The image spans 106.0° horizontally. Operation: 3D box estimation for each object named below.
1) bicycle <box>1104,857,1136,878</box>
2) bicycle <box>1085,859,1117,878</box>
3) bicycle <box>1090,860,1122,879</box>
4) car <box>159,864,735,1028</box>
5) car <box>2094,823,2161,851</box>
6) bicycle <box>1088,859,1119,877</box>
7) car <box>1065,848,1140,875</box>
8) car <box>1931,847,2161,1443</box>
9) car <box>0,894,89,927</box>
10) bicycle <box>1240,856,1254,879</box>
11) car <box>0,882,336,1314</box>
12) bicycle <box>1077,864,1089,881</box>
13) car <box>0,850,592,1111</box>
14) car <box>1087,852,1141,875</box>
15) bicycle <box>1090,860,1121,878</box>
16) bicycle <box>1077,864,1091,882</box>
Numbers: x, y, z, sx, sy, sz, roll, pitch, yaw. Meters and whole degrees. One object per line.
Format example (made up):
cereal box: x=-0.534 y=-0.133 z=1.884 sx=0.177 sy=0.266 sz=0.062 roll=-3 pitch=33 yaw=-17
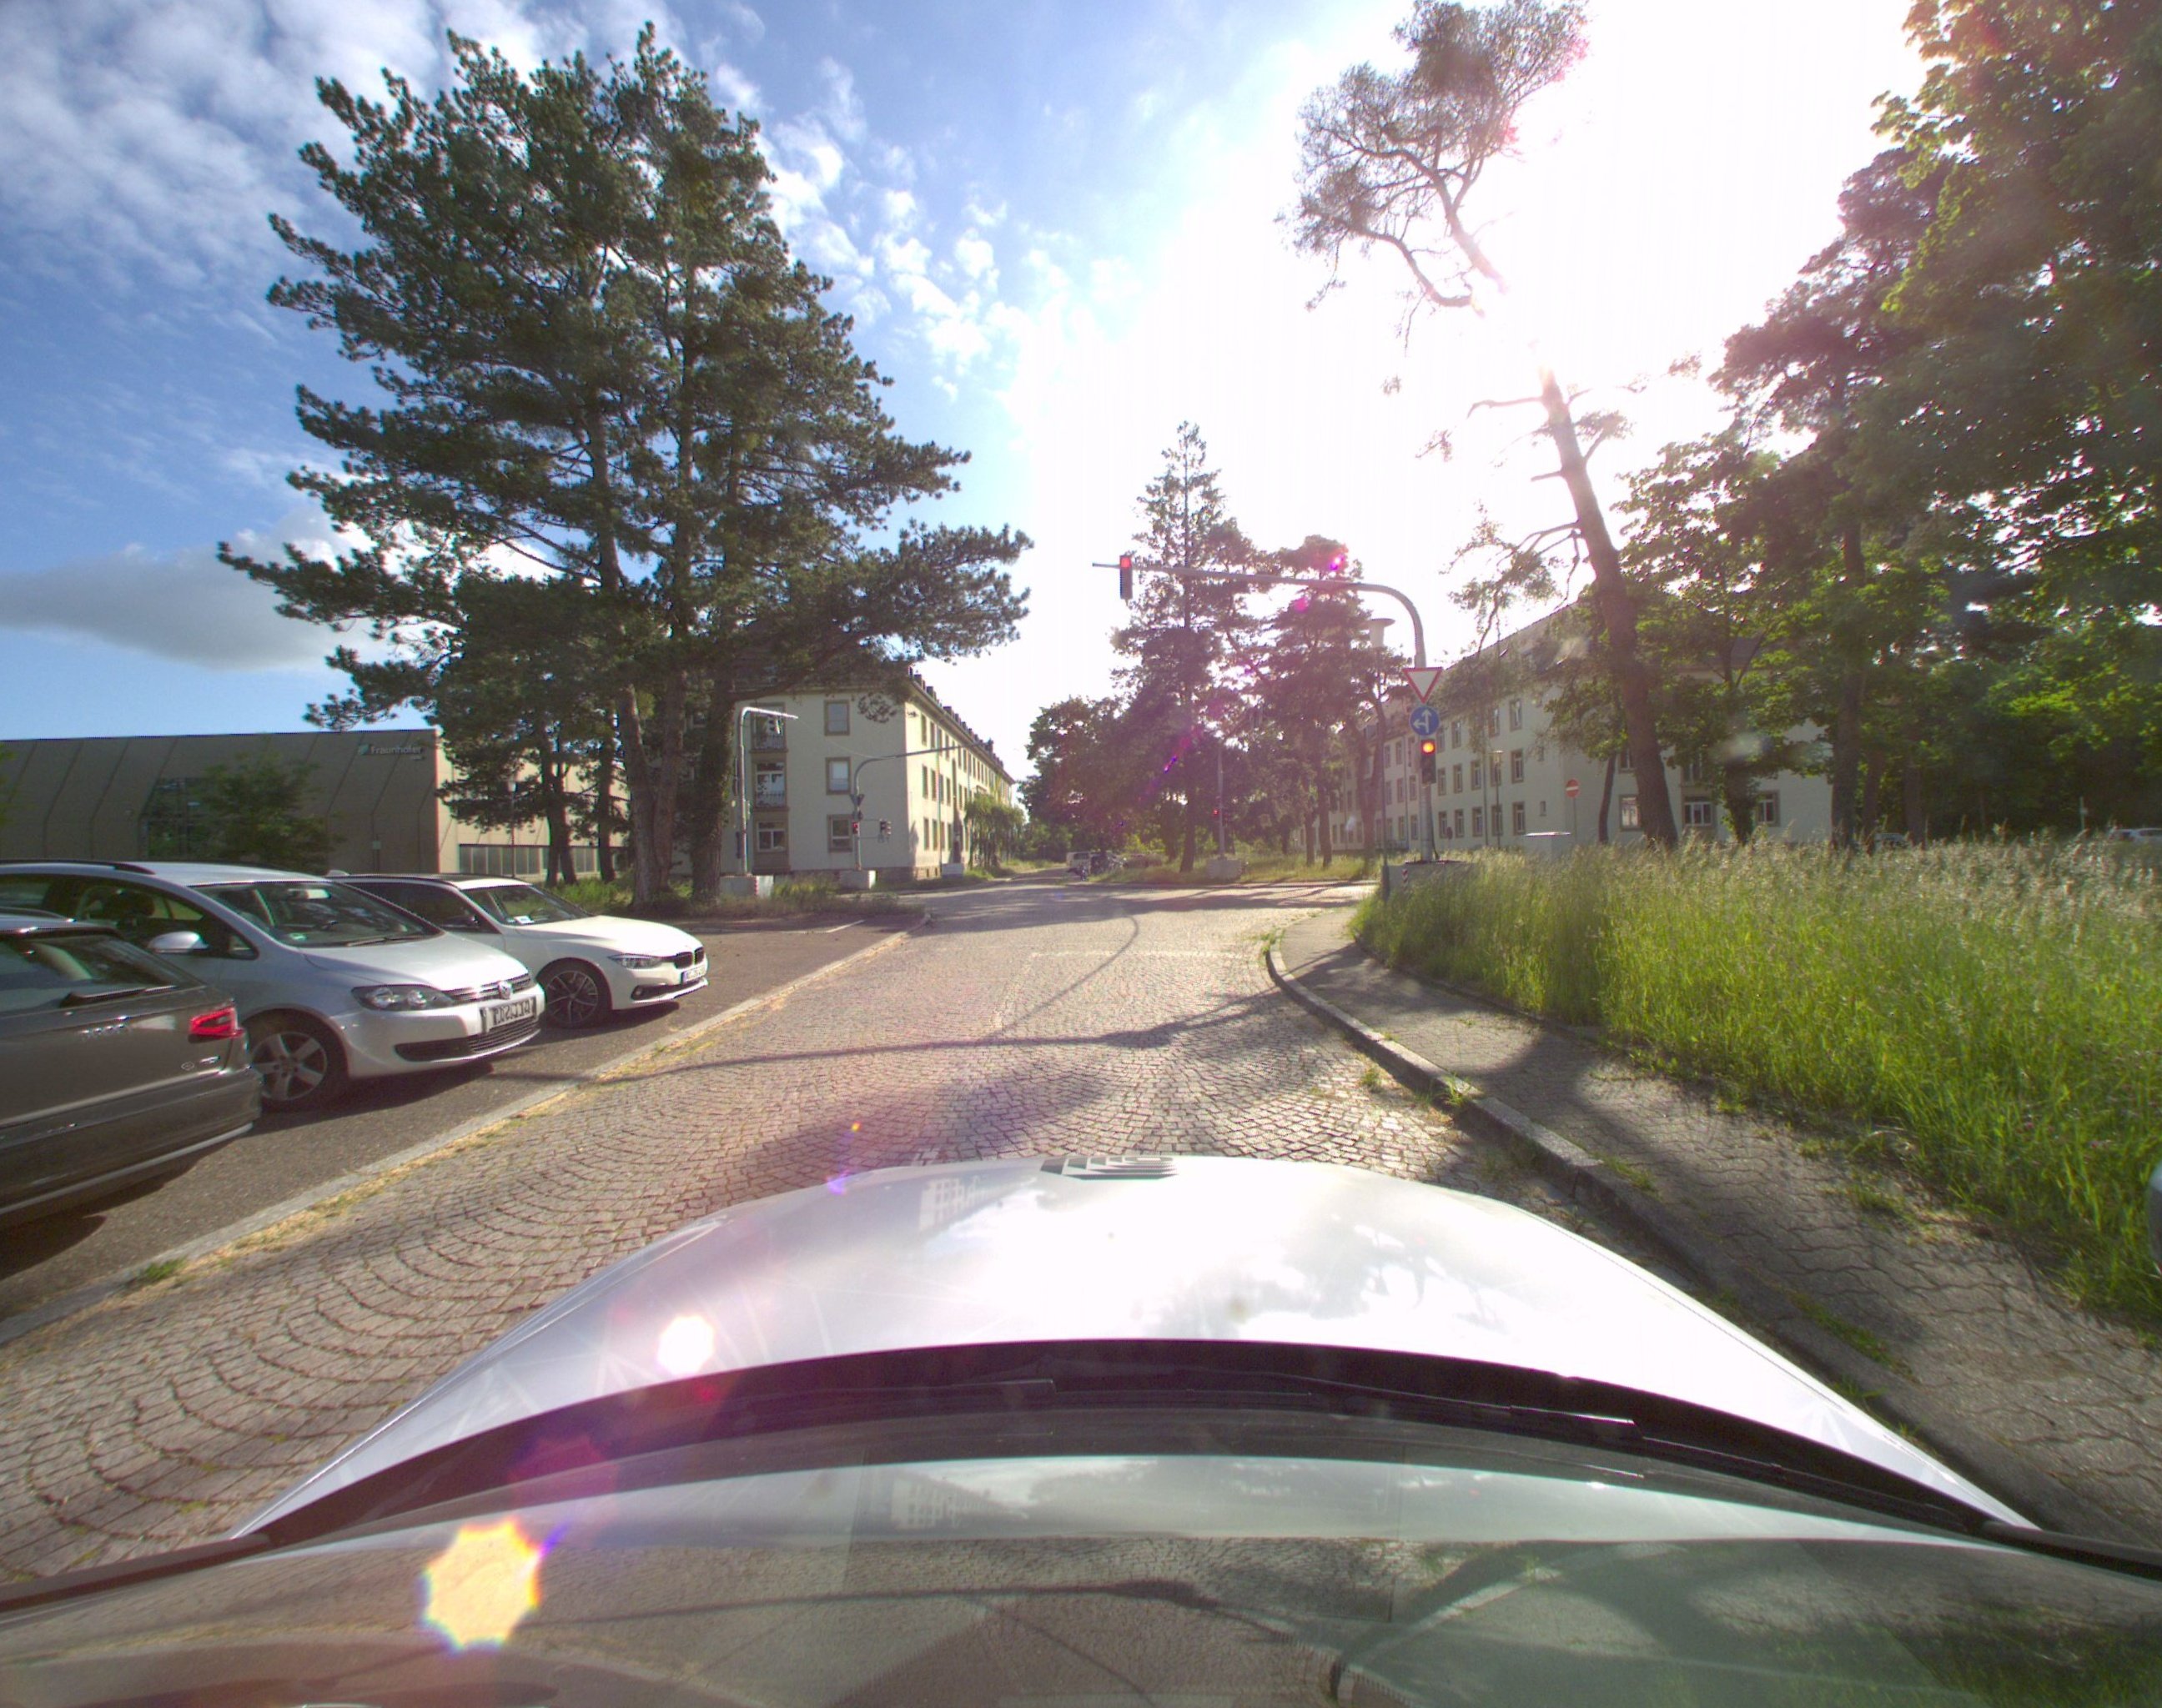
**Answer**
bicycle: x=2.479 y=0.846 z=51.837 sx=1.936 sy=1.235 sz=0.485 roll=-2 pitch=0 yaw=-3
bicycle: x=1.286 y=0.948 z=52.350 sx=1.951 sy=1.129 sz=0.642 roll=-2 pitch=0 yaw=-27
bicycle: x=1.543 y=0.982 z=51.133 sx=1.936 sy=1.129 sz=0.749 roll=-2 pitch=0 yaw=-3
car: x=-6.289 y=0.886 z=8.523 sx=4.529 sy=1.467 sz=1.751 roll=1 pitch=0 yaw=-3
car: x=57.905 y=-0.941 z=44.107 sx=3.978 sy=1.464 sz=1.845 roll=-2 pitch=0 yaw=-3
bicycle: x=1.457 y=0.902 z=53.450 sx=1.938 sy=1.129 sz=0.646 roll=-2 pitch=0 yaw=-5
car: x=1.766 y=0.610 z=68.296 sx=5.924 sy=2.013 sz=2.470 roll=-2 pitch=0 yaw=-7
car: x=4.658 y=0.652 z=1.598 sx=4.002 sy=1.460 sz=1.871 roll=-2 pitch=0 yaw=0
car: x=-48.111 y=2.598 z=36.780 sx=1.481 sy=1.294 sz=4.054 roll=-2 pitch=0 yaw=3
bicycle: x=7.795 y=0.634 z=38.205 sx=0.464 sy=1.080 sz=1.175 roll=-2 pitch=-1 yaw=4
car: x=-5.742 y=0.873 z=3.304 sx=3.786 sy=1.471 sz=1.687 roll=1 pitch=0 yaw=-1
bicycle: x=0.119 y=1.070 z=48.787 sx=0.693 sy=0.971 sz=1.859 roll=-1 pitch=0 yaw=-1
car: x=-6.156 y=0.811 z=6.030 sx=3.936 sy=1.626 sz=1.719 roll=1 pitch=0 yaw=-4
car: x=2.598 y=0.710 z=64.102 sx=3.984 sy=1.684 sz=1.842 roll=-2 pitch=0 yaw=-8
bicycle: x=1.487 y=0.938 z=50.335 sx=1.850 sy=1.031 sz=0.749 roll=-2 pitch=0 yaw=-3
bicycle: x=0.163 y=1.067 z=46.844 sx=0.693 sy=0.971 sz=1.859 roll=-1 pitch=0 yaw=-1
